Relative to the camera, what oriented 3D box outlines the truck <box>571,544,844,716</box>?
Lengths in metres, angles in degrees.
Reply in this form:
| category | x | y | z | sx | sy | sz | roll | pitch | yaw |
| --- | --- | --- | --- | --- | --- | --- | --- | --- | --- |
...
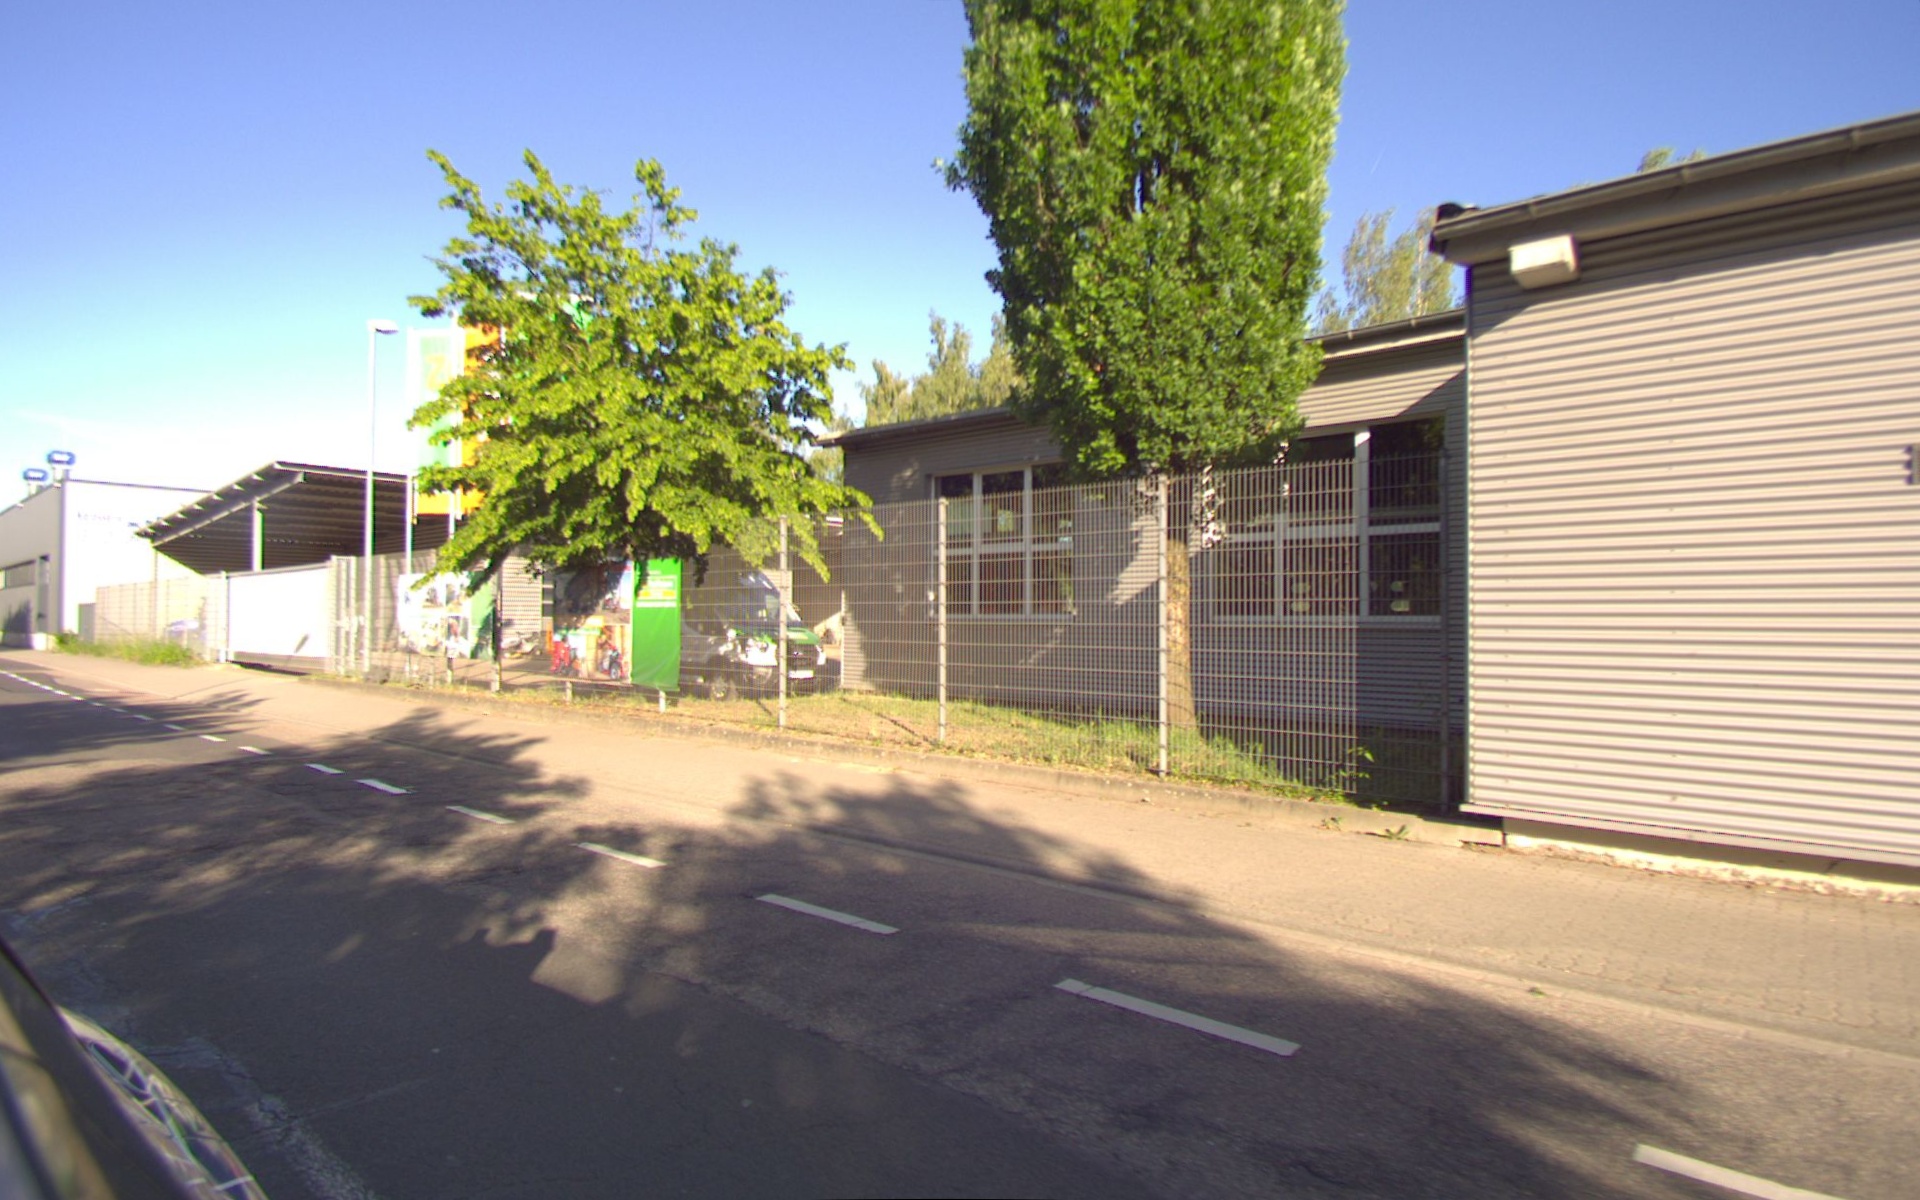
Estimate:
| category | x | y | z | sx | sy | sz | roll | pitch | yaw |
| --- | --- | --- | --- | --- | --- | --- | --- | --- | --- |
| truck | -4.898 | 0.583 | 19.058 | 5.761 | 2.783 | 2.057 | -2 | -3 | 41 |

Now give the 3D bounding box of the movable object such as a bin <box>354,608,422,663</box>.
| category | x | y | z | sx | sy | sz | roll | pitch | yaw |
| --- | --- | --- | --- | --- | --- | --- | --- | --- | --- |
| movable object such as a bin | -22.978 | 1.438 | 40.623 | 2.475 | 2.108 | 1.560 | -2 | -3 | 39 |

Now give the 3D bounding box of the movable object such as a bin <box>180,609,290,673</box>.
| category | x | y | z | sx | sy | sz | roll | pitch | yaw |
| --- | --- | --- | --- | --- | --- | --- | --- | --- | --- |
| movable object such as a bin | -25.395 | 1.445 | 35.542 | 2.839 | 2.165 | 1.504 | 1 | -3 | -22 |

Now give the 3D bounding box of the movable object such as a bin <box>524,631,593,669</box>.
| category | x | y | z | sx | sy | sz | roll | pitch | yaw |
| --- | --- | --- | --- | --- | --- | --- | --- | --- | --- |
| movable object such as a bin | -14.687 | 1.834 | 36.991 | 2.632 | 1.342 | 1.155 | -2 | -3 | 38 |

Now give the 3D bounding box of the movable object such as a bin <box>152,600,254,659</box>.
| category | x | y | z | sx | sy | sz | roll | pitch | yaw |
| --- | --- | --- | --- | --- | --- | --- | --- | --- | --- |
| movable object such as a bin | -28.833 | 1.112 | 38.622 | 2.725 | 2.181 | 1.528 | 0 | -3 | -19 |
